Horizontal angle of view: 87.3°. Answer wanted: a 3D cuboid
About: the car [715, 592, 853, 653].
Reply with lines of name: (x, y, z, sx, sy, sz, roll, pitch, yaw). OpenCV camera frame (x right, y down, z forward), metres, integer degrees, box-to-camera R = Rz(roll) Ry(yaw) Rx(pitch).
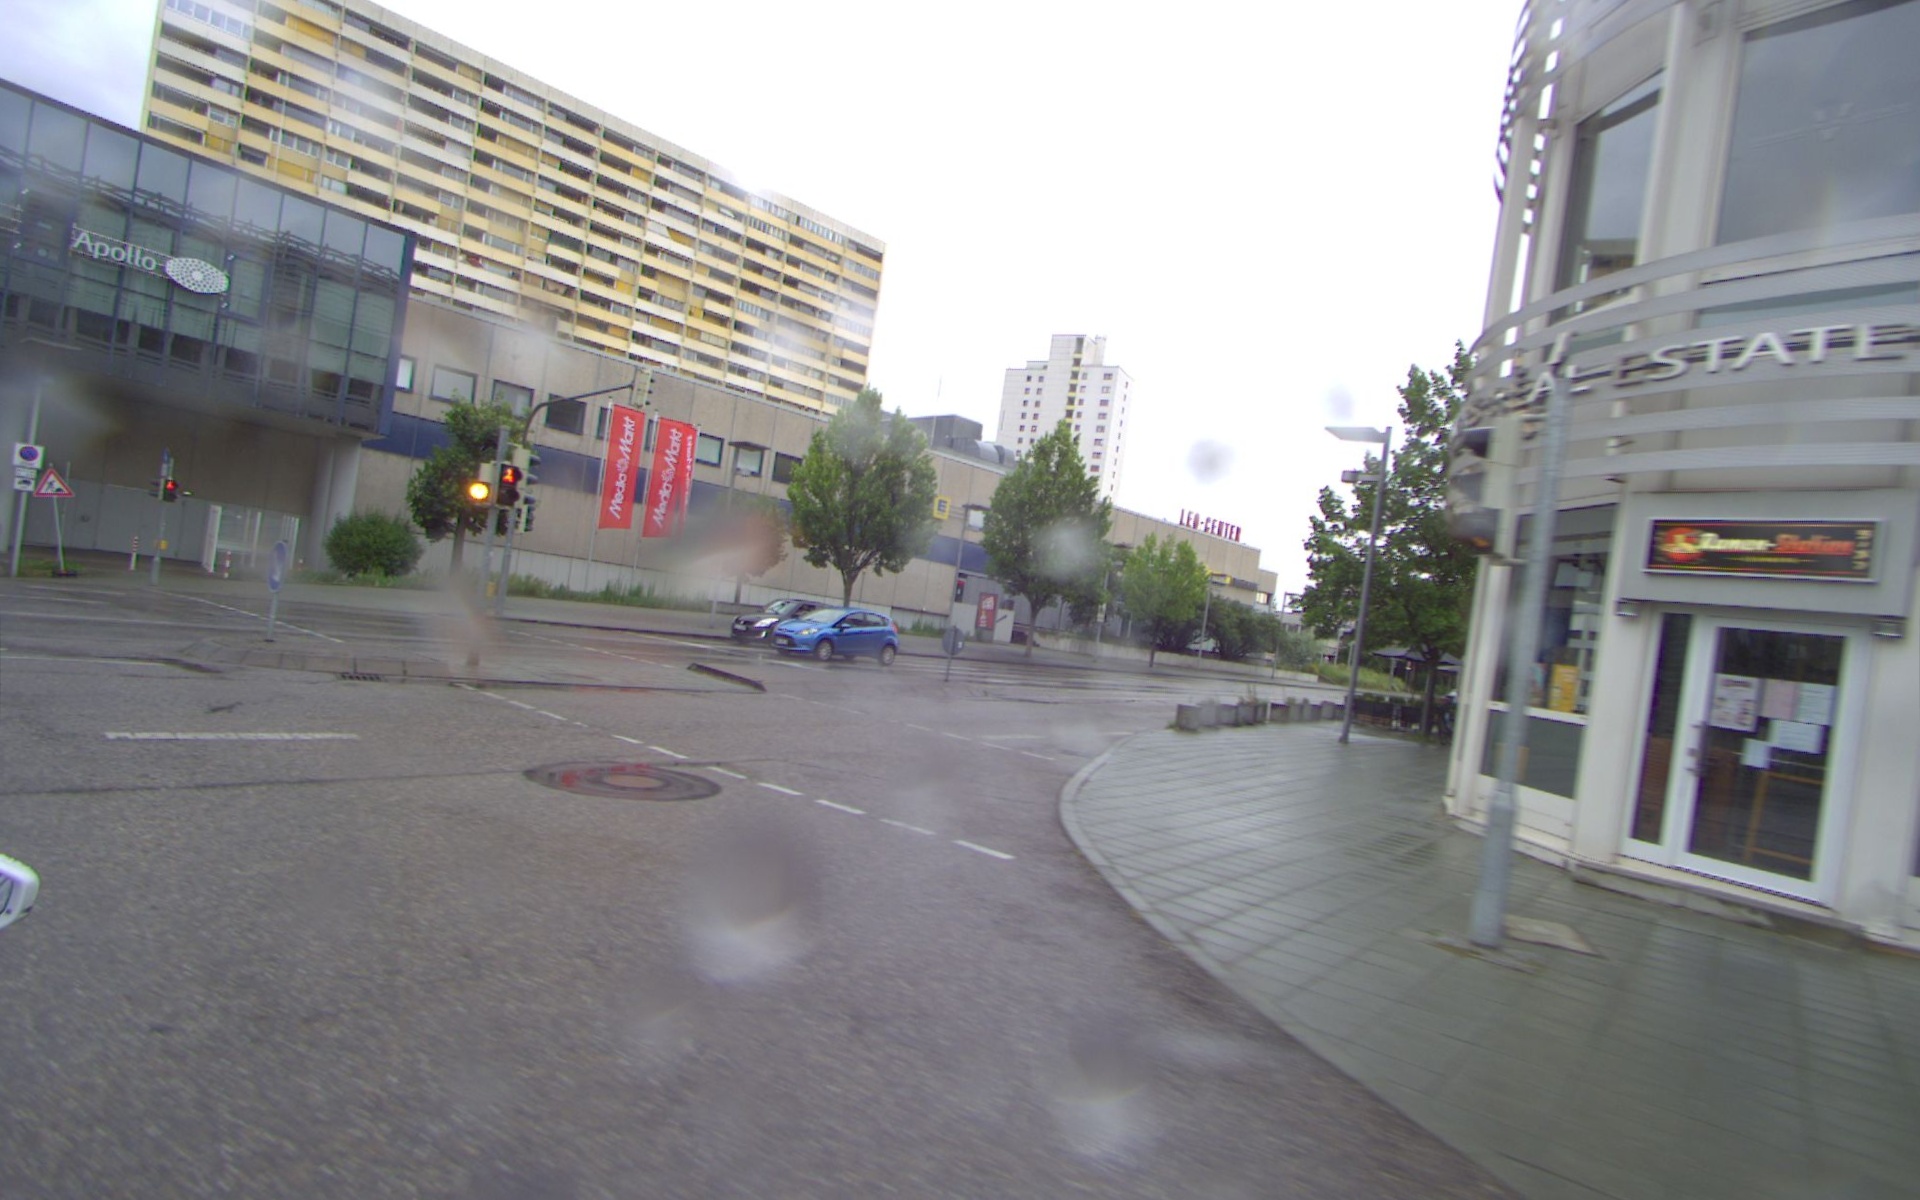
car: (-5.161, 0.694, 29.827, 1.719, 1.411, 3.681, 7, -1, 40)

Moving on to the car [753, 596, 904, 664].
car: (-3.465, 0.850, 27.093, 1.655, 1.414, 3.840, 7, -1, 39)
